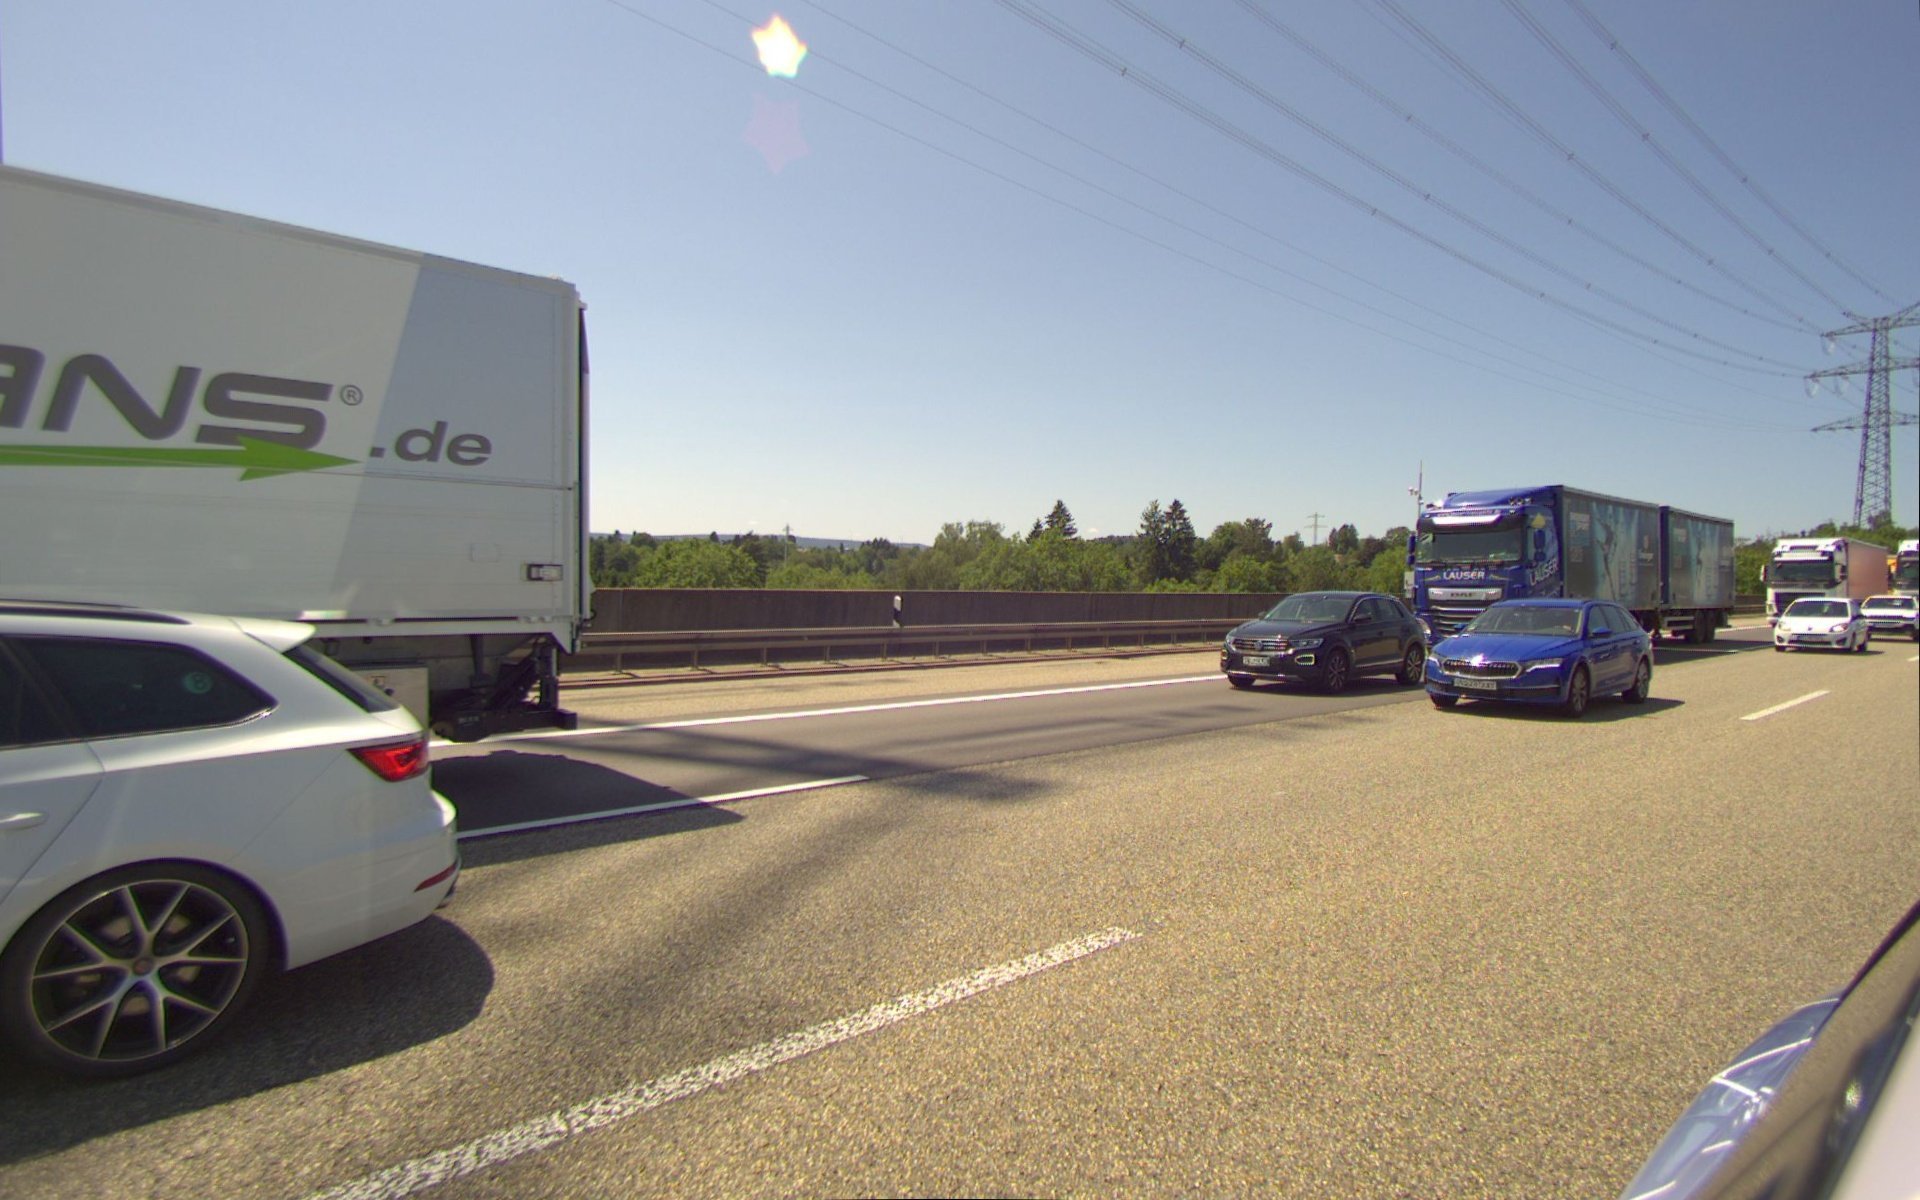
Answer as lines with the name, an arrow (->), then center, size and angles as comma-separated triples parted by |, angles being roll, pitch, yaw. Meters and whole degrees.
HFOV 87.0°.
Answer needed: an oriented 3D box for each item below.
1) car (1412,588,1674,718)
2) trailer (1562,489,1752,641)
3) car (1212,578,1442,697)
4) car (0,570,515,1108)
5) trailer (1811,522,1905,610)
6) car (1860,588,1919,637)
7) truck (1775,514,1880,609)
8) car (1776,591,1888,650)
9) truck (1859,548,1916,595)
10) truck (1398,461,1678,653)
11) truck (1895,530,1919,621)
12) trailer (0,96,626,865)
car -> 8.037, 0.593, 13.768 | 4.483, 1.470, 1.711 | -1, 1, -41
trailer -> 21.880, -1.021, 31.555 | 8.487, 4.140, 2.833 | -1, 0, -41
car -> 5.952, 0.495, 16.197 | 4.046, 1.675, 1.711 | -1, 1, -41
car -> -3.800, 0.650, 2.864 | 4.352, 1.470, 1.711 | 0, 0, -42
trailer -> 46.417, -1.683, 52.223 | 8.929, 4.169, 2.605 | -1, 0, -42
car -> 31.638, 0.381, 33.887 | 4.072, 1.528, 1.711 | -1, 1, -41
truck -> 40.005, -1.700, 46.544 | 8.123, 4.037, 2.605 | -1, 0, -42
car -> 23.718, 0.502, 27.485 | 4.072, 1.470, 1.711 | -1, 1, -41
truck -> 63.341, -1.965, 69.089 | 6.139, 3.018, 2.249 | -1, 4, -43
truck -> 14.838, -0.970, 25.434 | 10.212, 3.999, 2.857 | -1, 0, -41
truck -> 44.334, -1.110, 45.103 | 8.118, 3.874, 2.848 | -1, 0, -40
trailer -> -6.411, -0.610, 5.792 | 8.073, 3.940, 2.903 | -1, 0, -42
